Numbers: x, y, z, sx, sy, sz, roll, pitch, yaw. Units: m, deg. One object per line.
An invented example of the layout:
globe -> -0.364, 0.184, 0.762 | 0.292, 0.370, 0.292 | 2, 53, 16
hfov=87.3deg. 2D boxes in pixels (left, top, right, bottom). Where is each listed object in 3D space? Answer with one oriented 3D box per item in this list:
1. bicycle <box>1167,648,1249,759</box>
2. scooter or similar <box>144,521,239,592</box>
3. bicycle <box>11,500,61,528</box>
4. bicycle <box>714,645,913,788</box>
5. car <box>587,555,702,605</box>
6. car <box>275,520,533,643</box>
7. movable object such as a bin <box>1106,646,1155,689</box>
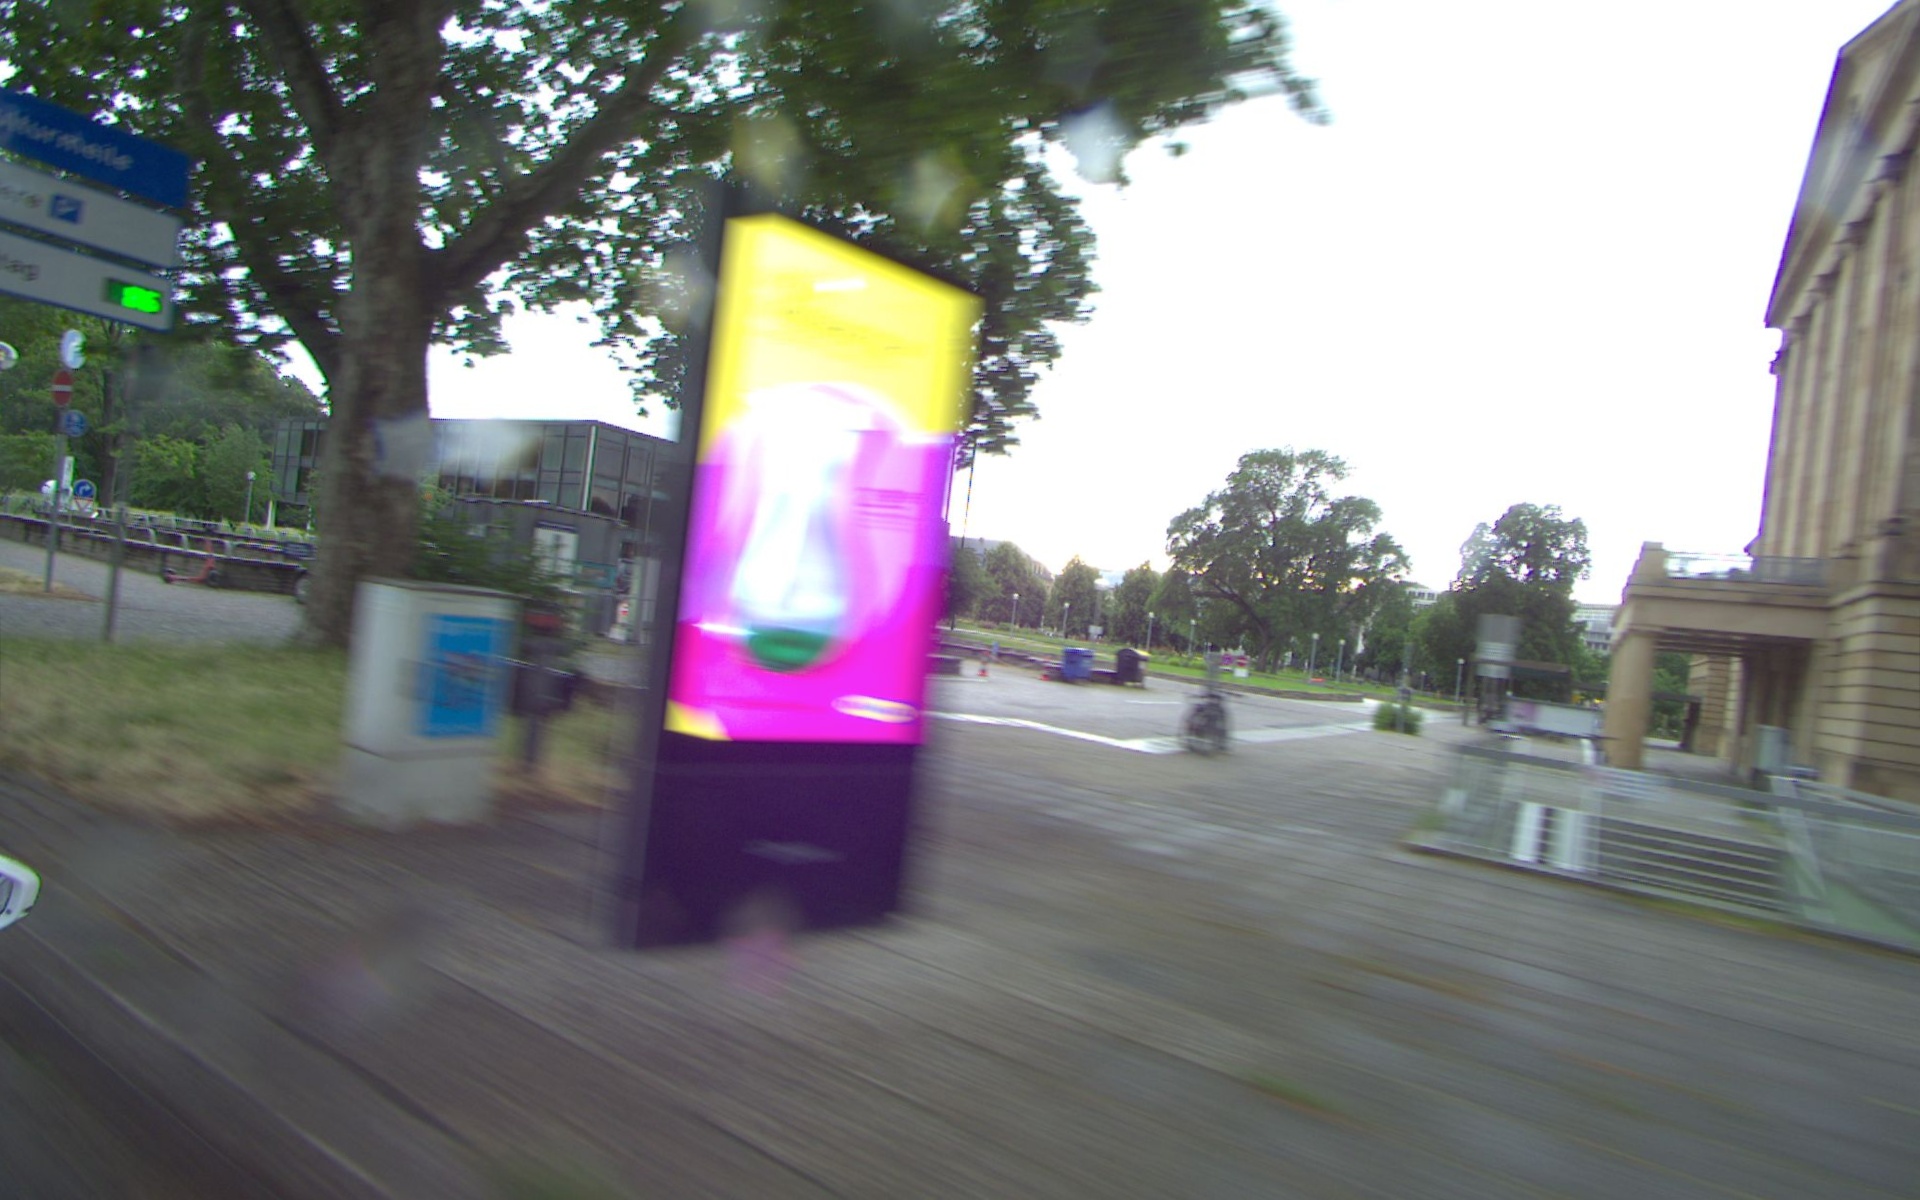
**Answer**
bicycle -> 4.263, 1.740, 17.132 | 0.761, 1.686, 2.323 | 6, -2, 25
scooter or similar -> -15.680, -0.878, 20.540 | 1.411, 1.271, 0.543 | 7, 1, 0
bicycle -> -46.992, -4.374, 51.174 | 0.697, 1.099, 1.645 | 8, 0, 27
bicycle -> -1.184, 0.999, 8.475 | 0.566, 1.031, 1.643 | 6, -3, 36
car -> -15.565, -0.954, 49.940 | 2.419, 1.784, 5.017 | 7, -1, 29
car -> -11.034, -0.396, 19.862 | 5.147, 1.629, 1.997 | 8, 0, 31
movable object such as a bin -> 6.526, 2.574, 38.489 | 1.230, 1.475, 1.490 | 6, 1, 34
